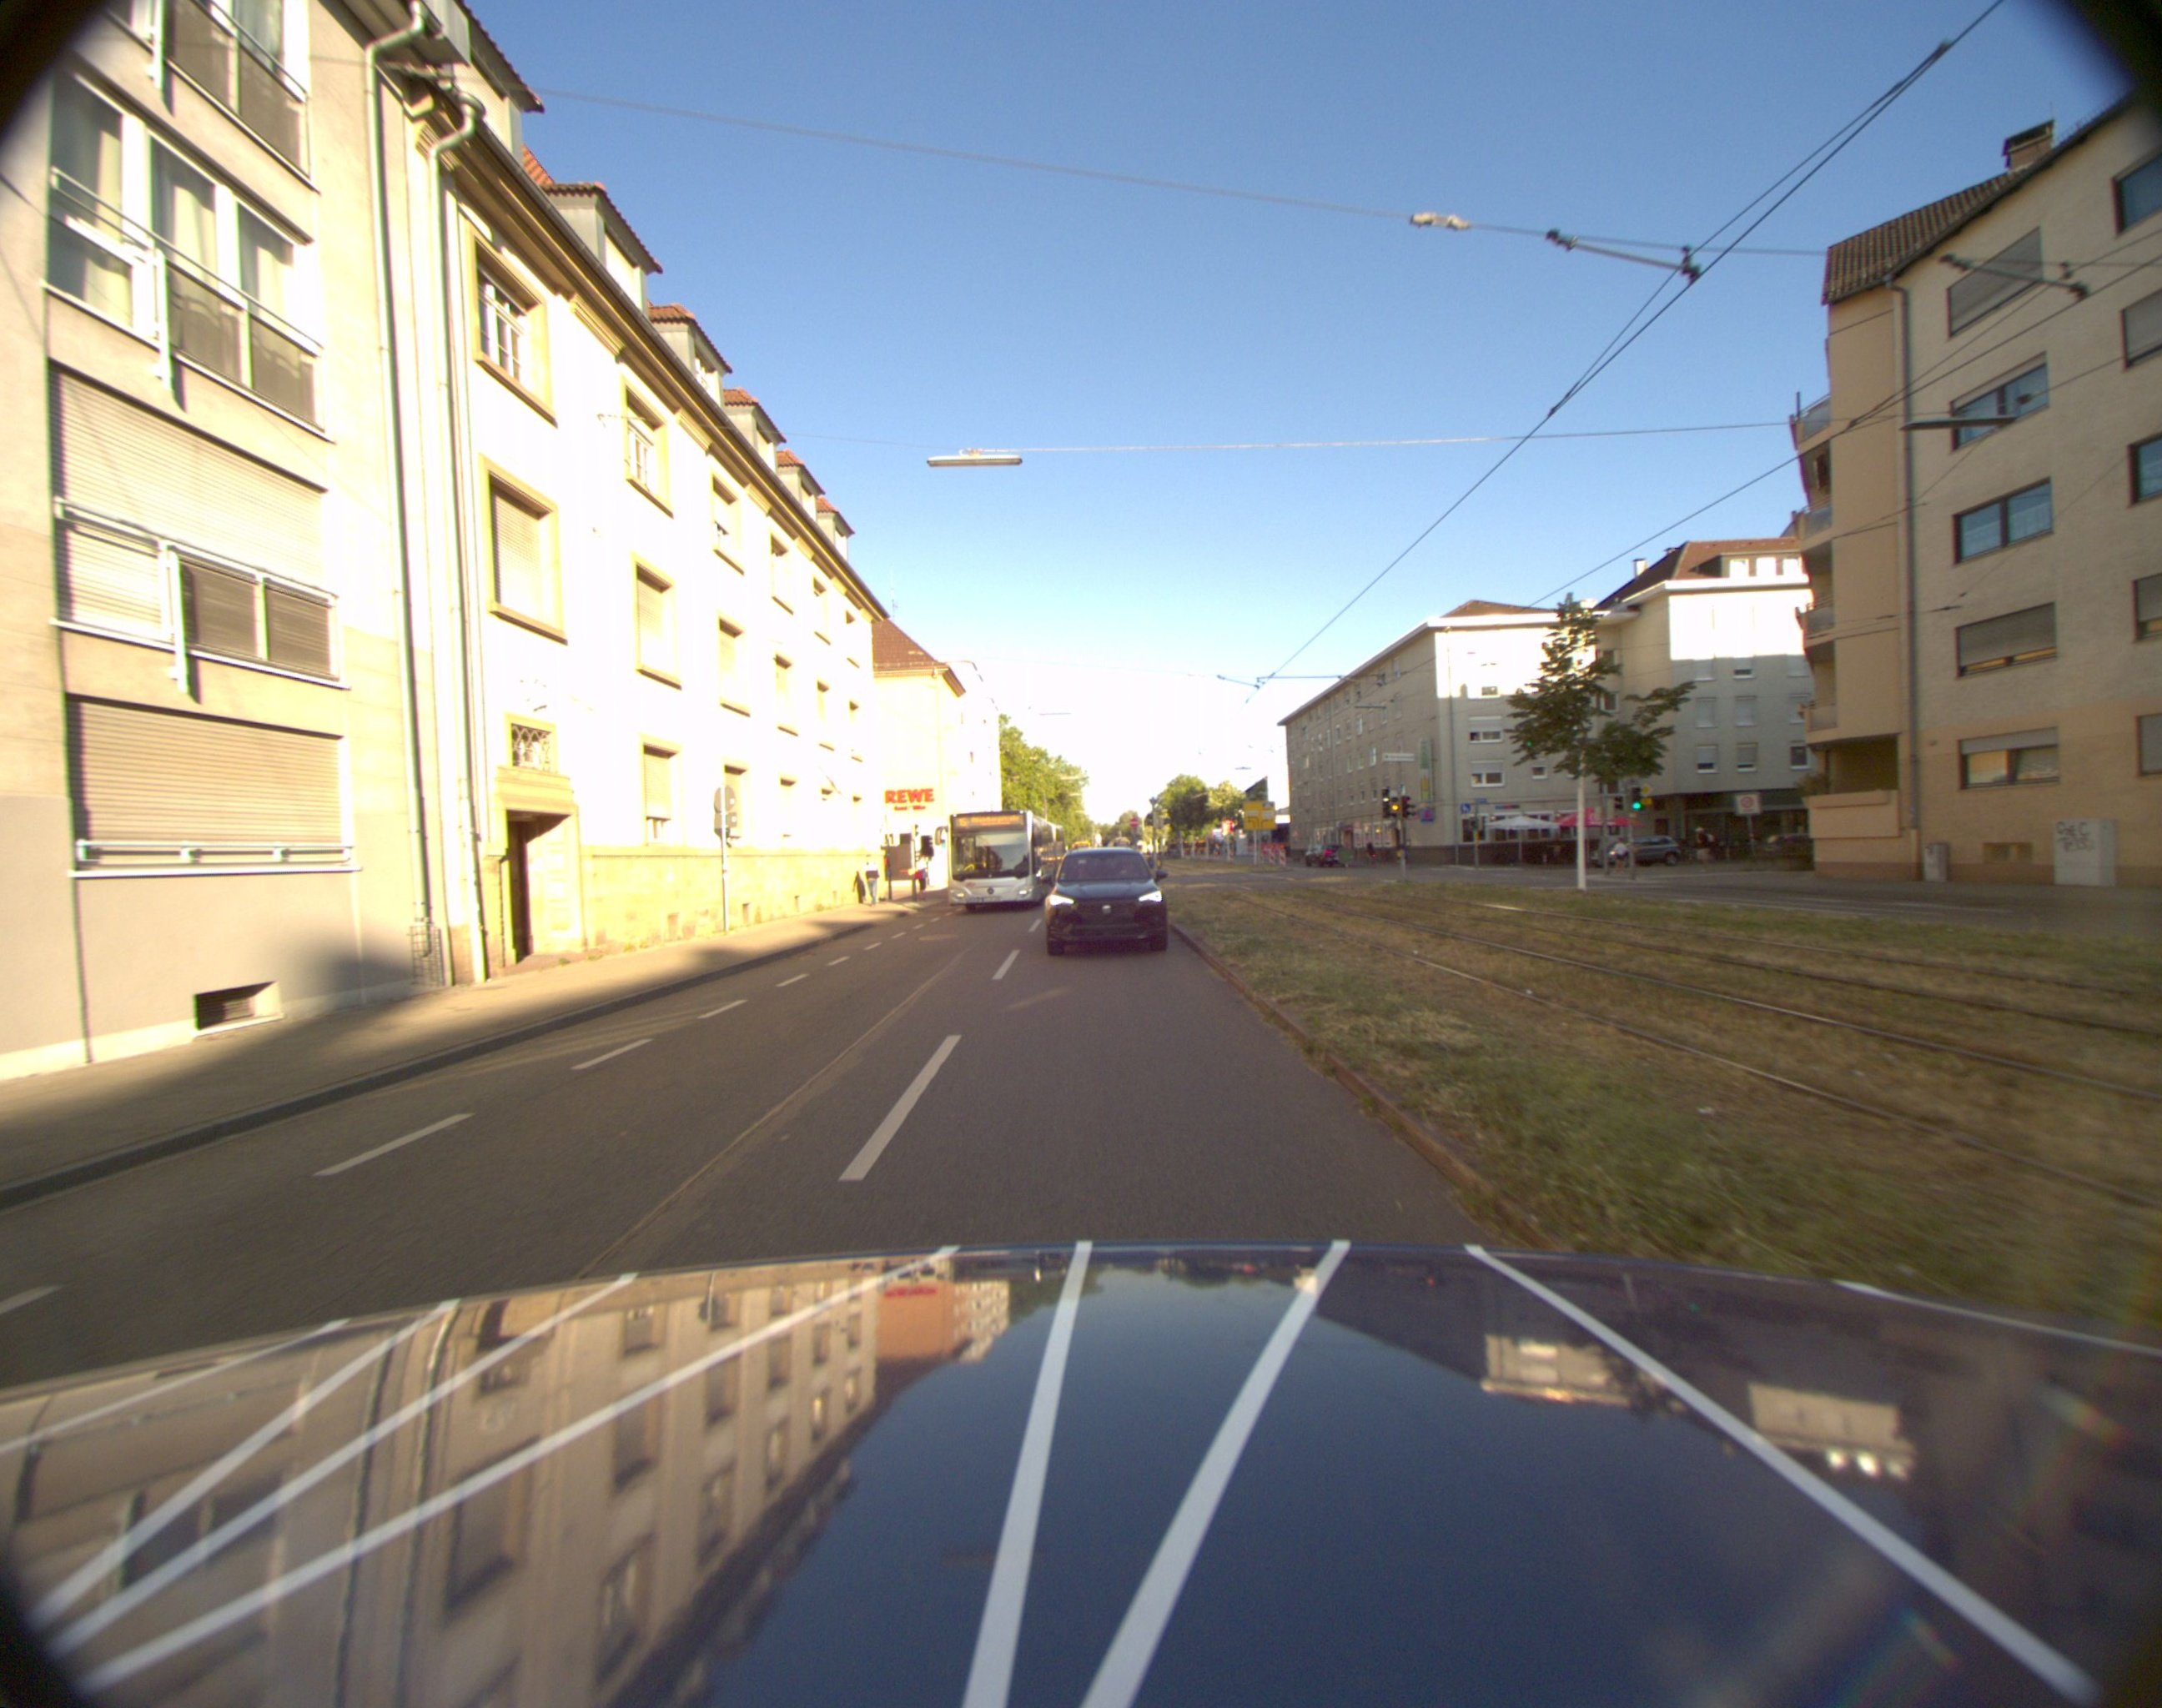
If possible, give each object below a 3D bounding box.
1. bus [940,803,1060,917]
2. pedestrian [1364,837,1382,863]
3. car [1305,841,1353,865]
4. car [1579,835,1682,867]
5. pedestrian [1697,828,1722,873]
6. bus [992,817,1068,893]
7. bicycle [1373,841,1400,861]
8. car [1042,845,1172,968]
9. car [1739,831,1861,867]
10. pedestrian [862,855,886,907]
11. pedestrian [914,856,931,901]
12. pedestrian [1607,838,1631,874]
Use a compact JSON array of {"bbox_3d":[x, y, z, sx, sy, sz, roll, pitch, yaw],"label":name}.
[{"bbox_3d":[-2.408,0.125,26.570,2.731,3.059,10.599,-3,1,1],"label":"bus"},{"bbox_3d":[20.110,-0.287,52.364,0.742,1.731,1.226,-2,1,1],"label":"pedestrian"},{"bbox_3d":[17.390,-0.081,53.525,1.922,1.581,4.469,-2,0,1],"label":"car"},{"bbox_3d":[28.792,-0.155,39.921,3.998,1.499,1.999,-2,1,-3],"label":"car"},{"bbox_3d":[24.966,-0.147,30.194,0.634,1.760,0.826,-1,1,31],"label":"pedestrian"},{"bbox_3d":[-2.232,0.005,37.134,2.712,3.059,10.599,-3,1,1],"label":"bus"},{"bbox_3d":[22.327,-0.252,55.590,0.579,1.370,3.236,-2,1,0],"label":"bicycle"},{"bbox_3d":[0.467,0.721,12.868,1.787,1.615,4.215,-2,2,3],"label":"car"},{"bbox_3d":[32.351,-0.216,34.244,3.999,1.499,1.815,-1,1,-5],"label":"car"},{"bbox_3d":[-6.941,0.899,25.482,0.648,1.721,0.558,0,1,1],"label":"pedestrian"},{"bbox_3d":[-6.050,0.942,29.036,0.527,1.721,0.445,1,-1,-1],"label":"pedestrian"},{"bbox_3d":[22.836,0.079,32.253,0.624,1.482,0.582,-2,2,0],"label":"pedestrian"}]
